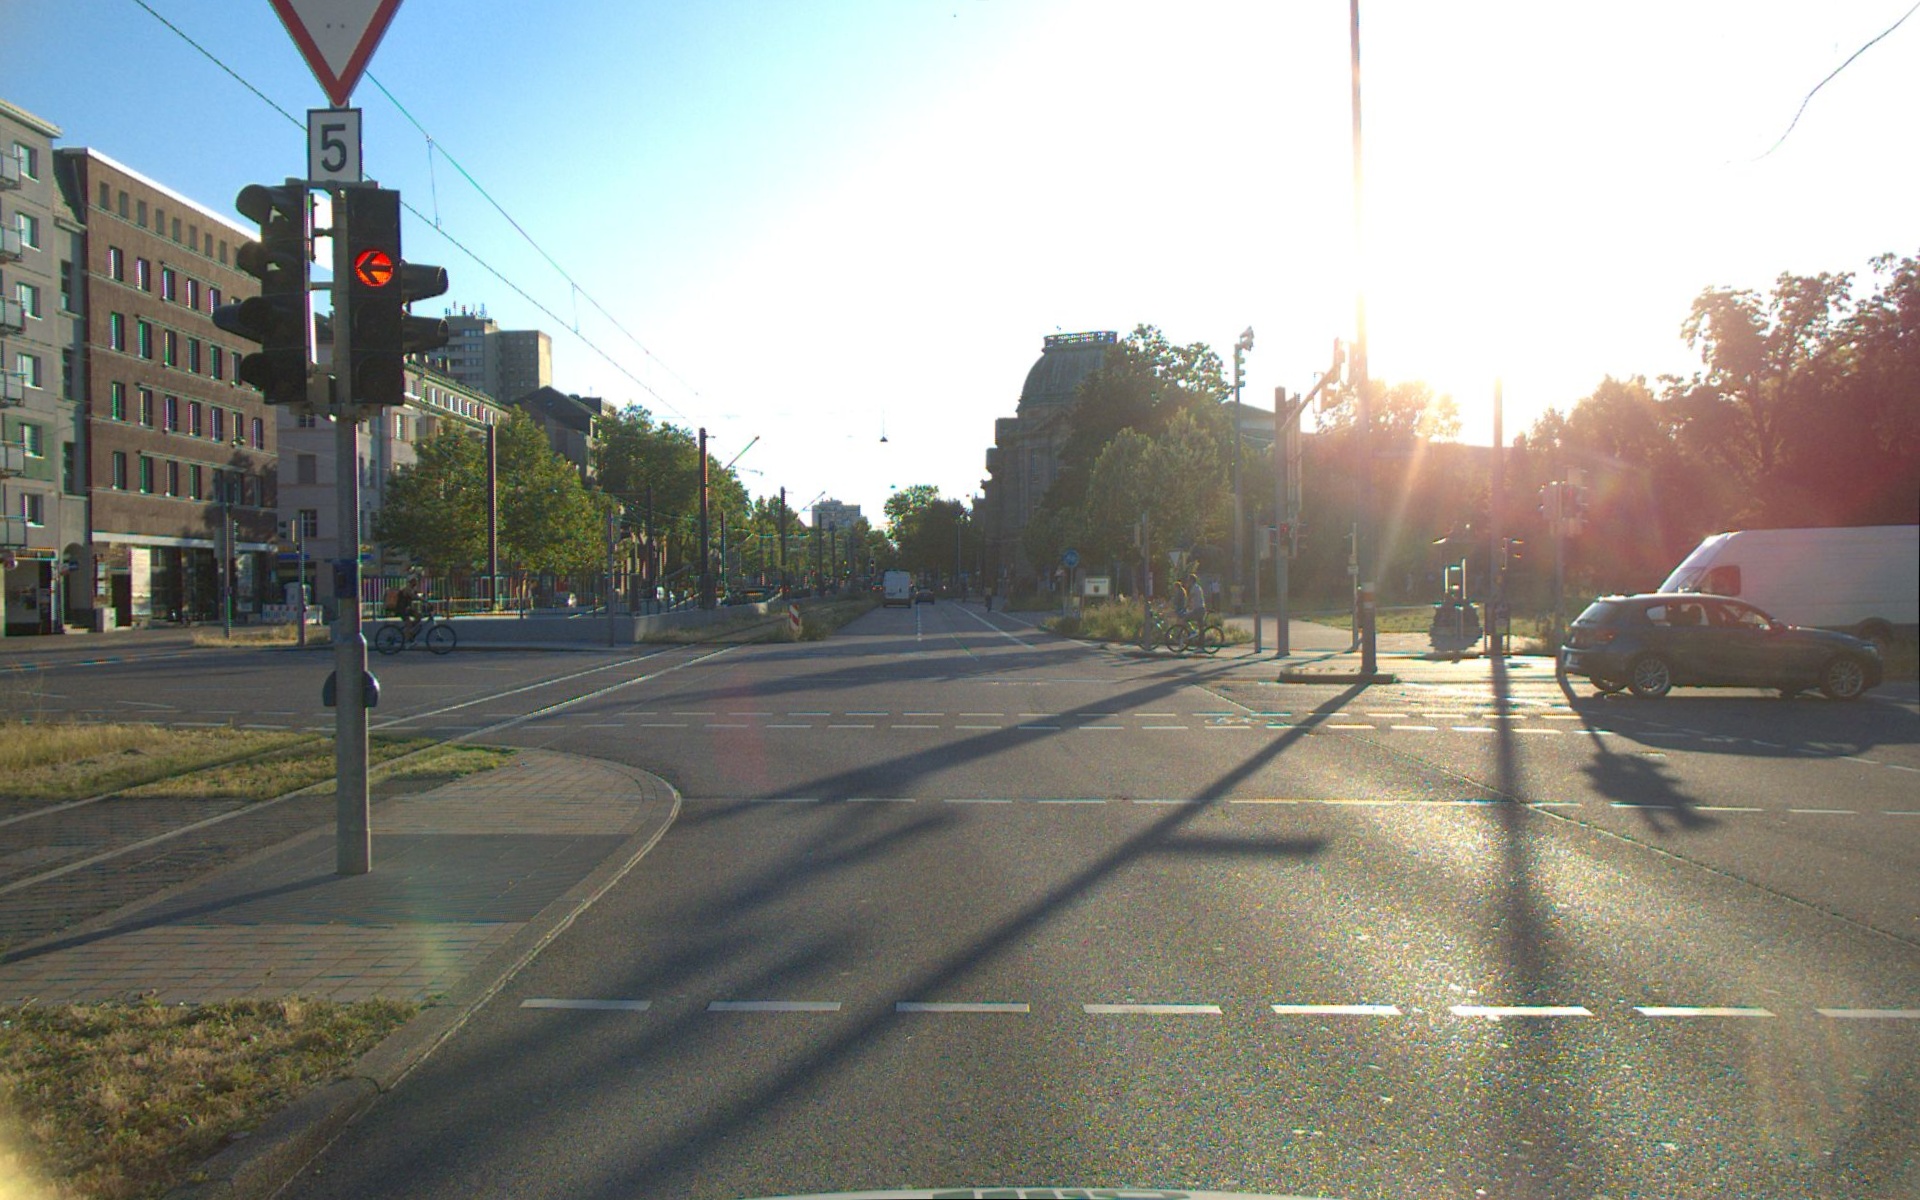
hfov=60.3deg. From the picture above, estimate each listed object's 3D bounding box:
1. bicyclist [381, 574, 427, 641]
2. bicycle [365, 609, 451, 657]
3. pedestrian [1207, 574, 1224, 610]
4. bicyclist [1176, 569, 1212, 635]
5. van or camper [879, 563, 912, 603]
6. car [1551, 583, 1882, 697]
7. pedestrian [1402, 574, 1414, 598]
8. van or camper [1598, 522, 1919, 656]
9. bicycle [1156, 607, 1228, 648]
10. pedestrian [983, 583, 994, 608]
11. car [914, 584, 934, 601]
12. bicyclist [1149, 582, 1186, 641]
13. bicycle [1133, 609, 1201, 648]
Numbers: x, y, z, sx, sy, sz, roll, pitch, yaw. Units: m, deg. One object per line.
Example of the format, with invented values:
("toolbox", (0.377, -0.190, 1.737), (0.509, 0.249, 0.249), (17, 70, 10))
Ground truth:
("bicyclist", (-12.476, 0.166, 37.132), (0.837, 1.467, 0.662), (1, 1, -7))
("bicycle", (-12.394, 0.745, 37.145), (1.695, 0.986, 0.703), (2, 2, -7))
("pedestrian", (11.829, -0.387, 76.478), (0.668, 1.639, 0.612), (-1, 1, -1))
("bicyclist", (5.799, 0.054, 41.012), (0.781, 1.598, 0.663), (-1, 1, -1))
("van or camper", (-4.572, -1.248, 118.382), (2.217, 2.670, 4.503), (-1, 2, -1))
("car", (10.643, 0.537, 23.500), (3.903, 1.459, 1.719), (1, 2, 4))
("pedestrian", (31.669, -0.992, 116.846), (0.780, 1.731, 0.801), (0, 0, 14))
("van or camper", (17.829, -0.281, 36.004), (6.897, 2.721, 2.599), (-1, 2, 1))
("bicycle", (5.739, 0.681, 41.023), (1.693, 0.987, 0.609), (0, 2, -2))
("pedestrian", (1.742, -0.251, 101.731), (0.603, 1.501, 0.800), (-1, 2, 3))
("car", (-3.112, -0.656, 144.879), (1.702, 1.410, 4.000), (-1, 2, -1))
("bicyclist", (5.361, 0.289, 42.805), (0.836, 1.467, 0.663), (-1, 1, -1))
("bicycle", (5.356, 0.739, 42.813), (1.683, 0.987, 0.609), (0, 2, -1))
